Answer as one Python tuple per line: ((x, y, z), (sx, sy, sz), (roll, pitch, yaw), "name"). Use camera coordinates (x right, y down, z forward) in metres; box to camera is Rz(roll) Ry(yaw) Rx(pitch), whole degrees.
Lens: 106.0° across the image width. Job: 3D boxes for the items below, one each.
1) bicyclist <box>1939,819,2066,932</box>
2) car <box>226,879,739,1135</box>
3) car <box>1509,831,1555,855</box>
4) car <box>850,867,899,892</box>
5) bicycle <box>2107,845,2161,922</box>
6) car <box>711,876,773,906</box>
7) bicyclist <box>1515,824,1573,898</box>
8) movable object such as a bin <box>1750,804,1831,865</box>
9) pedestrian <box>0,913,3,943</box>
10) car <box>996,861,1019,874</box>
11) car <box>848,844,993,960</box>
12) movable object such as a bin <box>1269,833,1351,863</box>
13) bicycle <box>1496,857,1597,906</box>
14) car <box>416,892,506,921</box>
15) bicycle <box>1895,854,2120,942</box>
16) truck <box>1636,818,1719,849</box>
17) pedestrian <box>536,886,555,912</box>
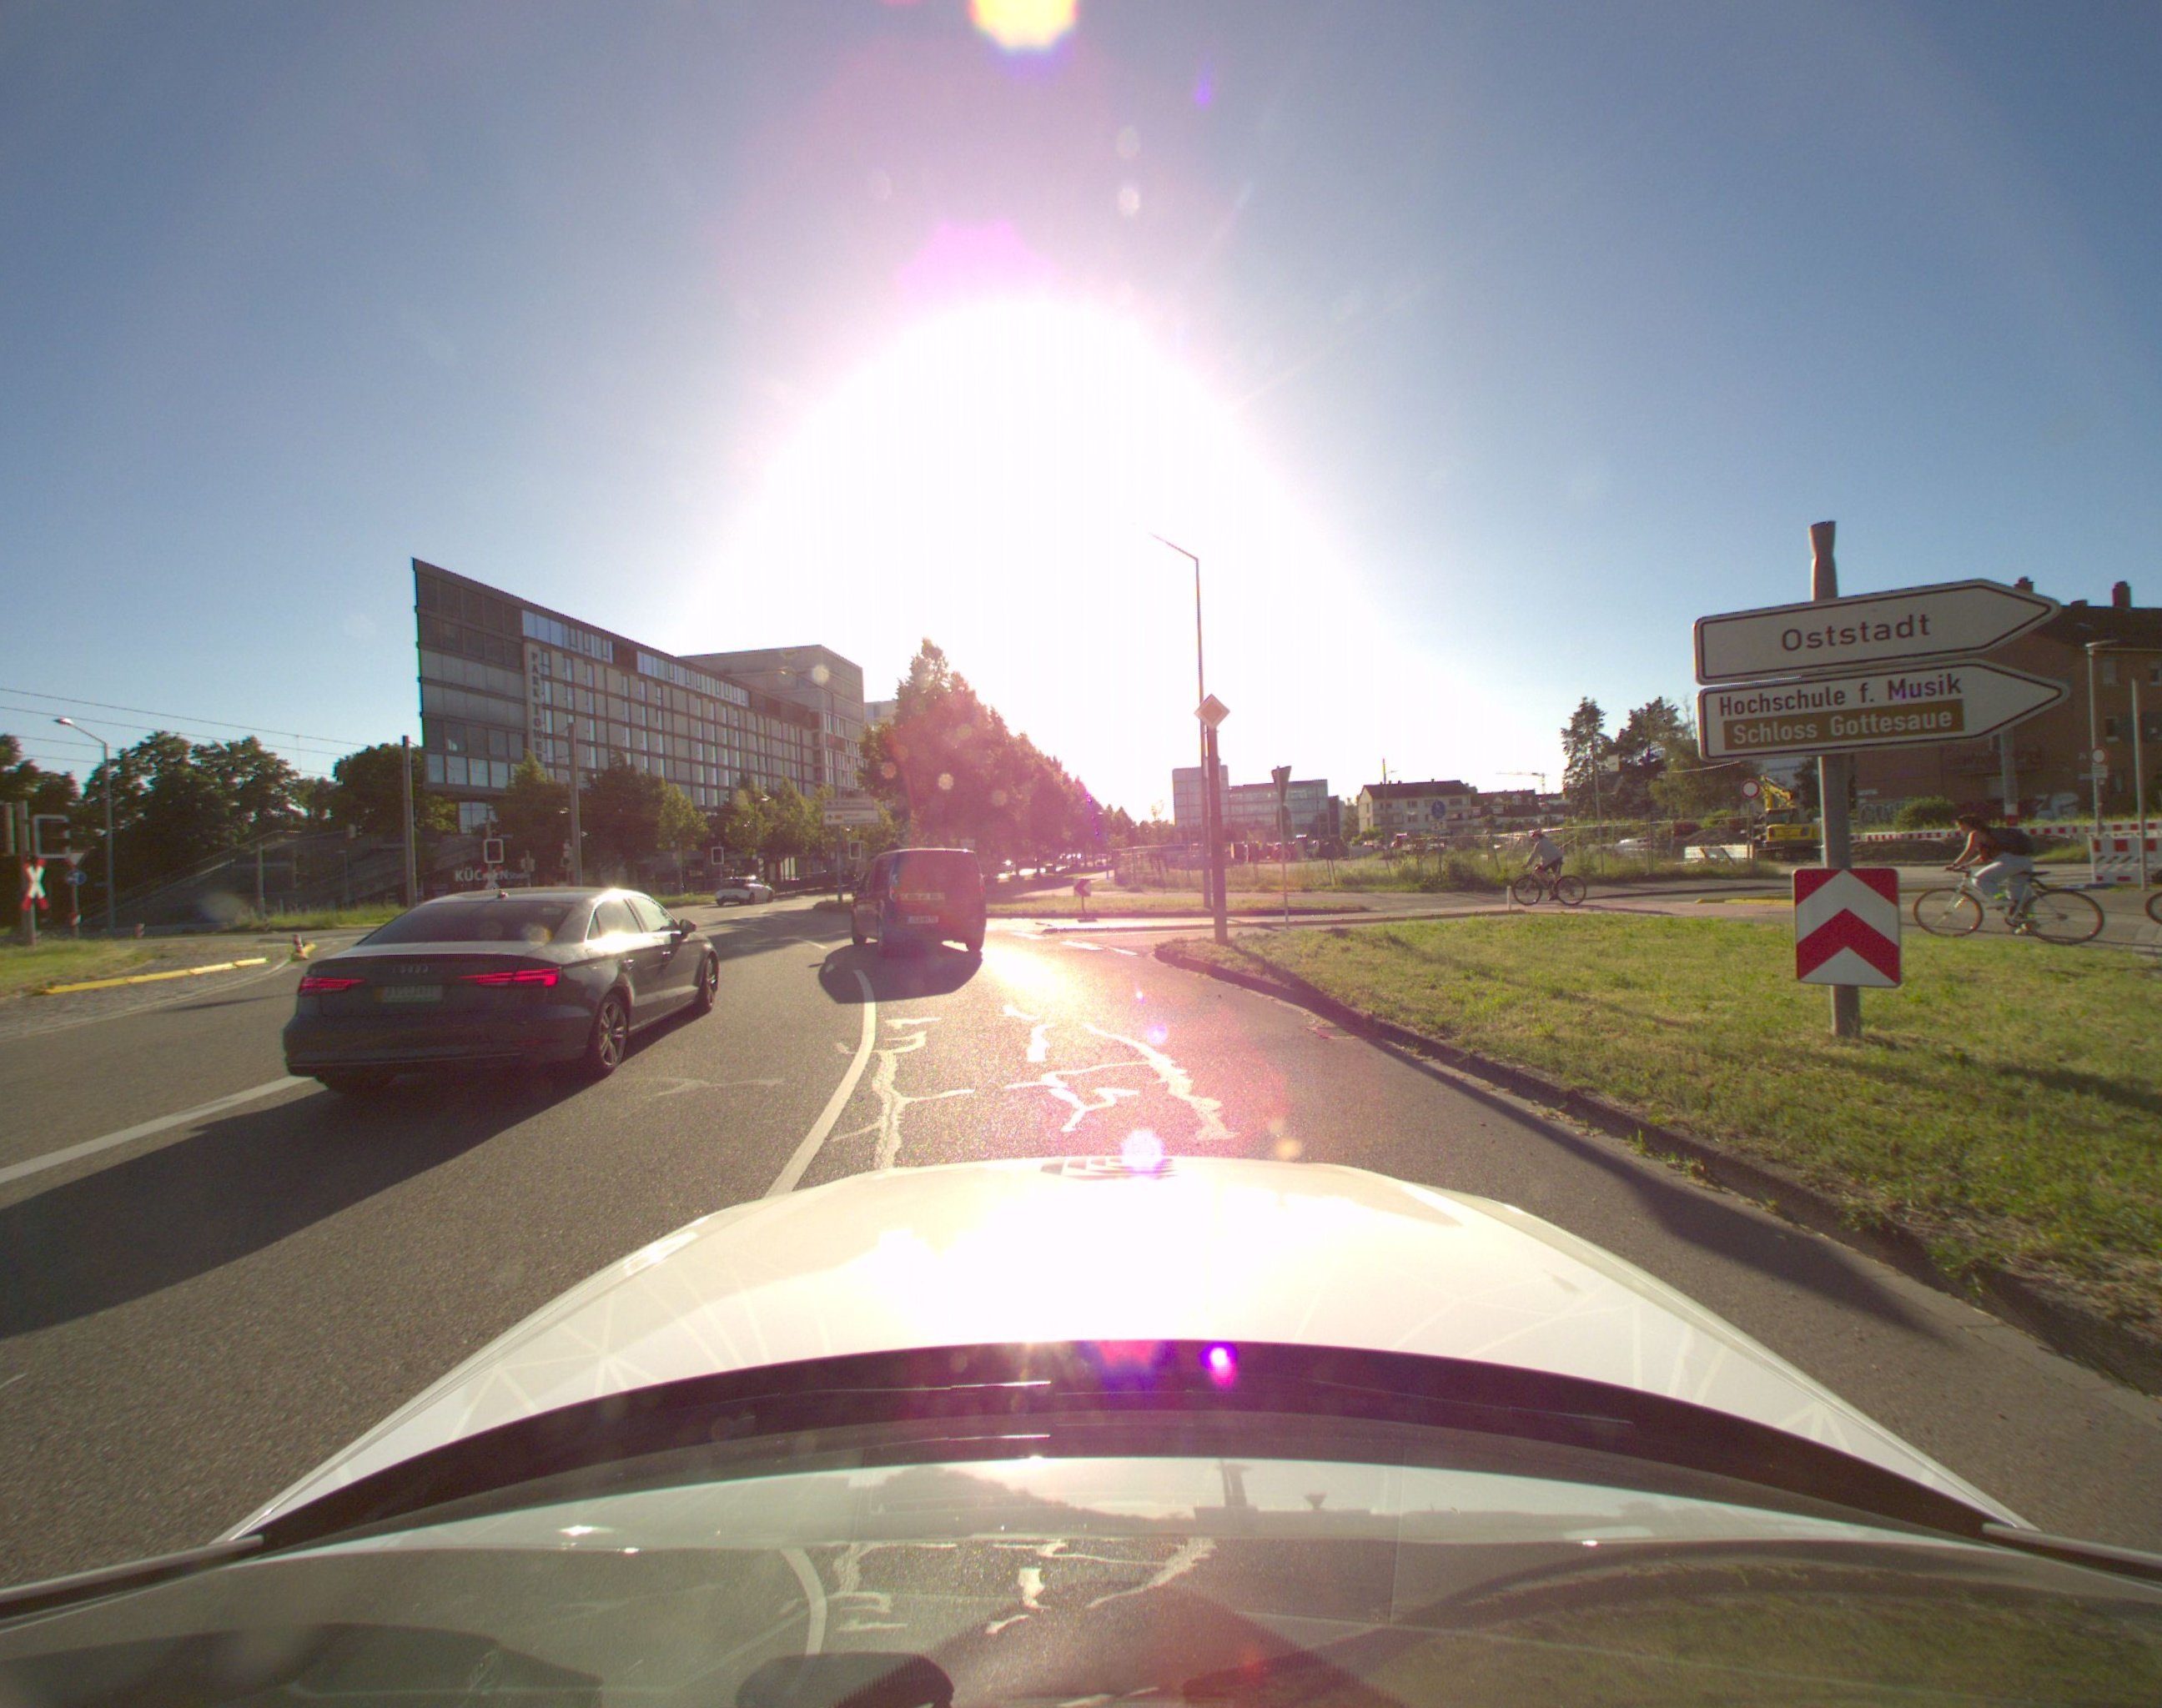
((11.931, 0.260, 10.568), (0.661, 1.385, 0.928), (-1, 0, -23), "bicyclist")
((-4.529, 0.977, 7.141), (1.760, 1.380, 4.345), (-2, -1, -9), "car")
((40.891, -0.996, 73.961), (1.985, 2.013, 4.504), (-1, 1, 4), "car")
((-15.485, 1.918, 61.345), (1.983, 1.575, 4.418), (-3, 0, 7), "car")
((15.072, 0.394, 10.763), (0.662, 1.027, 1.806), (-1, 0, -31), "bicycle")
((-17.664, 1.908, 42.603), (1.798, 1.461, 3.805), (-2, -2, -3), "car")
((10.960, 0.160, 19.305), (0.744, 1.680, 0.847), (-5, 2, -25), "bicyclist")
((34.172, -0.906, 39.340), (2.396, 2.773, 4.026), (0, 1, 33), "movable object such as a bin")
((-59.532, 4.095, 44.298), (0.876, 1.629, 0.764), (-3, 0, 15), "pedestrian")
((-9.633, 1.743, 107.000), (1.983, 1.575, 4.417), (-3, 0, 7), "car")
((-3.056, 0.790, 14.907), (1.811, 1.814, 3.779), (0, -1, -24), "car")
((23.668, -0.622, 84.561), (7.857, 2.782, 2.952), (-2, 0, 10), "movable object such as a bin")
((11.004, 0.625, 19.327), (0.744, 1.027, 1.993), (-5, 2, -25), "bicycle")
((-39.253, 3.286, 51.719), (1.721, 1.487, 4.503), (-2, 0, 10), "car")
((11.942, 0.519, 10.583), (0.661, 1.027, 1.810), (-1, 0, -22), "bicycle")
((42.075, -1.434, 57.653), (2.150, 2.013, 6.455), (-1, 1, 11), "truck")
((-31.548, 2.638, 47.976), (0.552, 1.466, 0.678), (-2, -1, 5), "pedestrian")
